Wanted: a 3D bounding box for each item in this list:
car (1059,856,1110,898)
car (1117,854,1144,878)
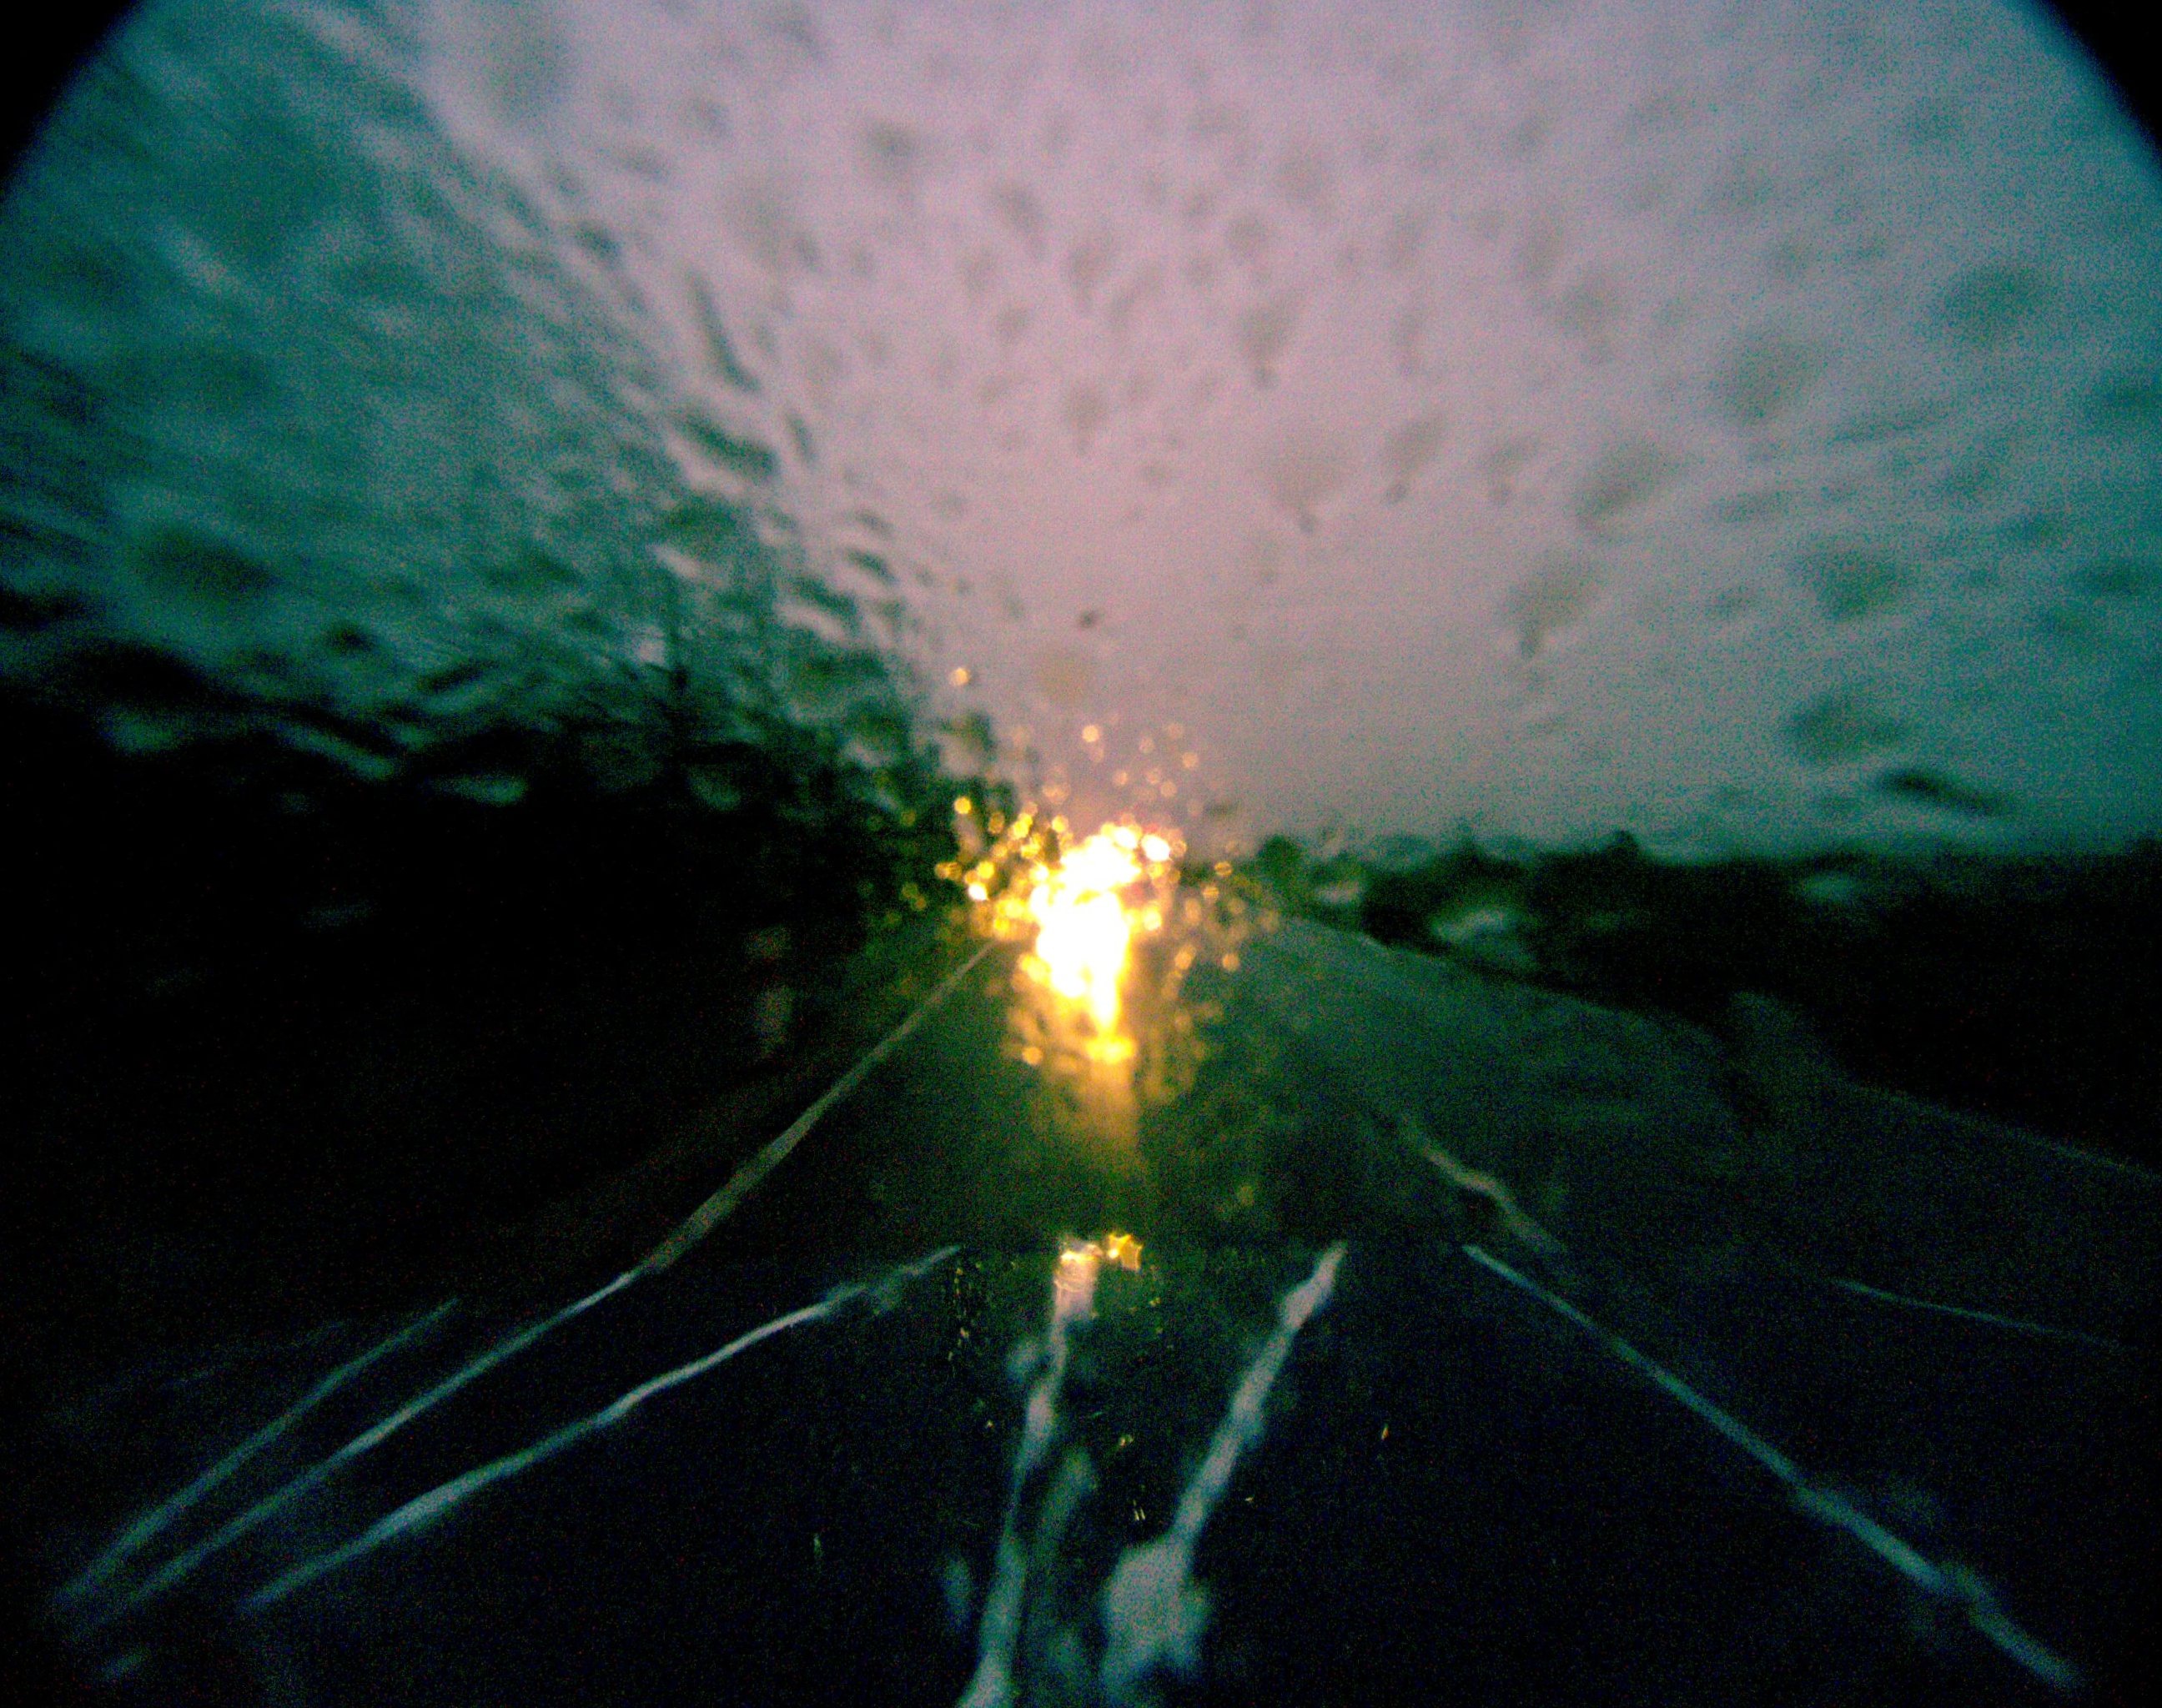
[{"bbox_3d":[0.144,0.869,30.421,1.844,1.484,3.956,-2,0,0],"label":"car"},{"bbox_3d":[3.887,0.901,59.885,1.844,1.711,3.956,-2,0,0],"label":"car"}]
